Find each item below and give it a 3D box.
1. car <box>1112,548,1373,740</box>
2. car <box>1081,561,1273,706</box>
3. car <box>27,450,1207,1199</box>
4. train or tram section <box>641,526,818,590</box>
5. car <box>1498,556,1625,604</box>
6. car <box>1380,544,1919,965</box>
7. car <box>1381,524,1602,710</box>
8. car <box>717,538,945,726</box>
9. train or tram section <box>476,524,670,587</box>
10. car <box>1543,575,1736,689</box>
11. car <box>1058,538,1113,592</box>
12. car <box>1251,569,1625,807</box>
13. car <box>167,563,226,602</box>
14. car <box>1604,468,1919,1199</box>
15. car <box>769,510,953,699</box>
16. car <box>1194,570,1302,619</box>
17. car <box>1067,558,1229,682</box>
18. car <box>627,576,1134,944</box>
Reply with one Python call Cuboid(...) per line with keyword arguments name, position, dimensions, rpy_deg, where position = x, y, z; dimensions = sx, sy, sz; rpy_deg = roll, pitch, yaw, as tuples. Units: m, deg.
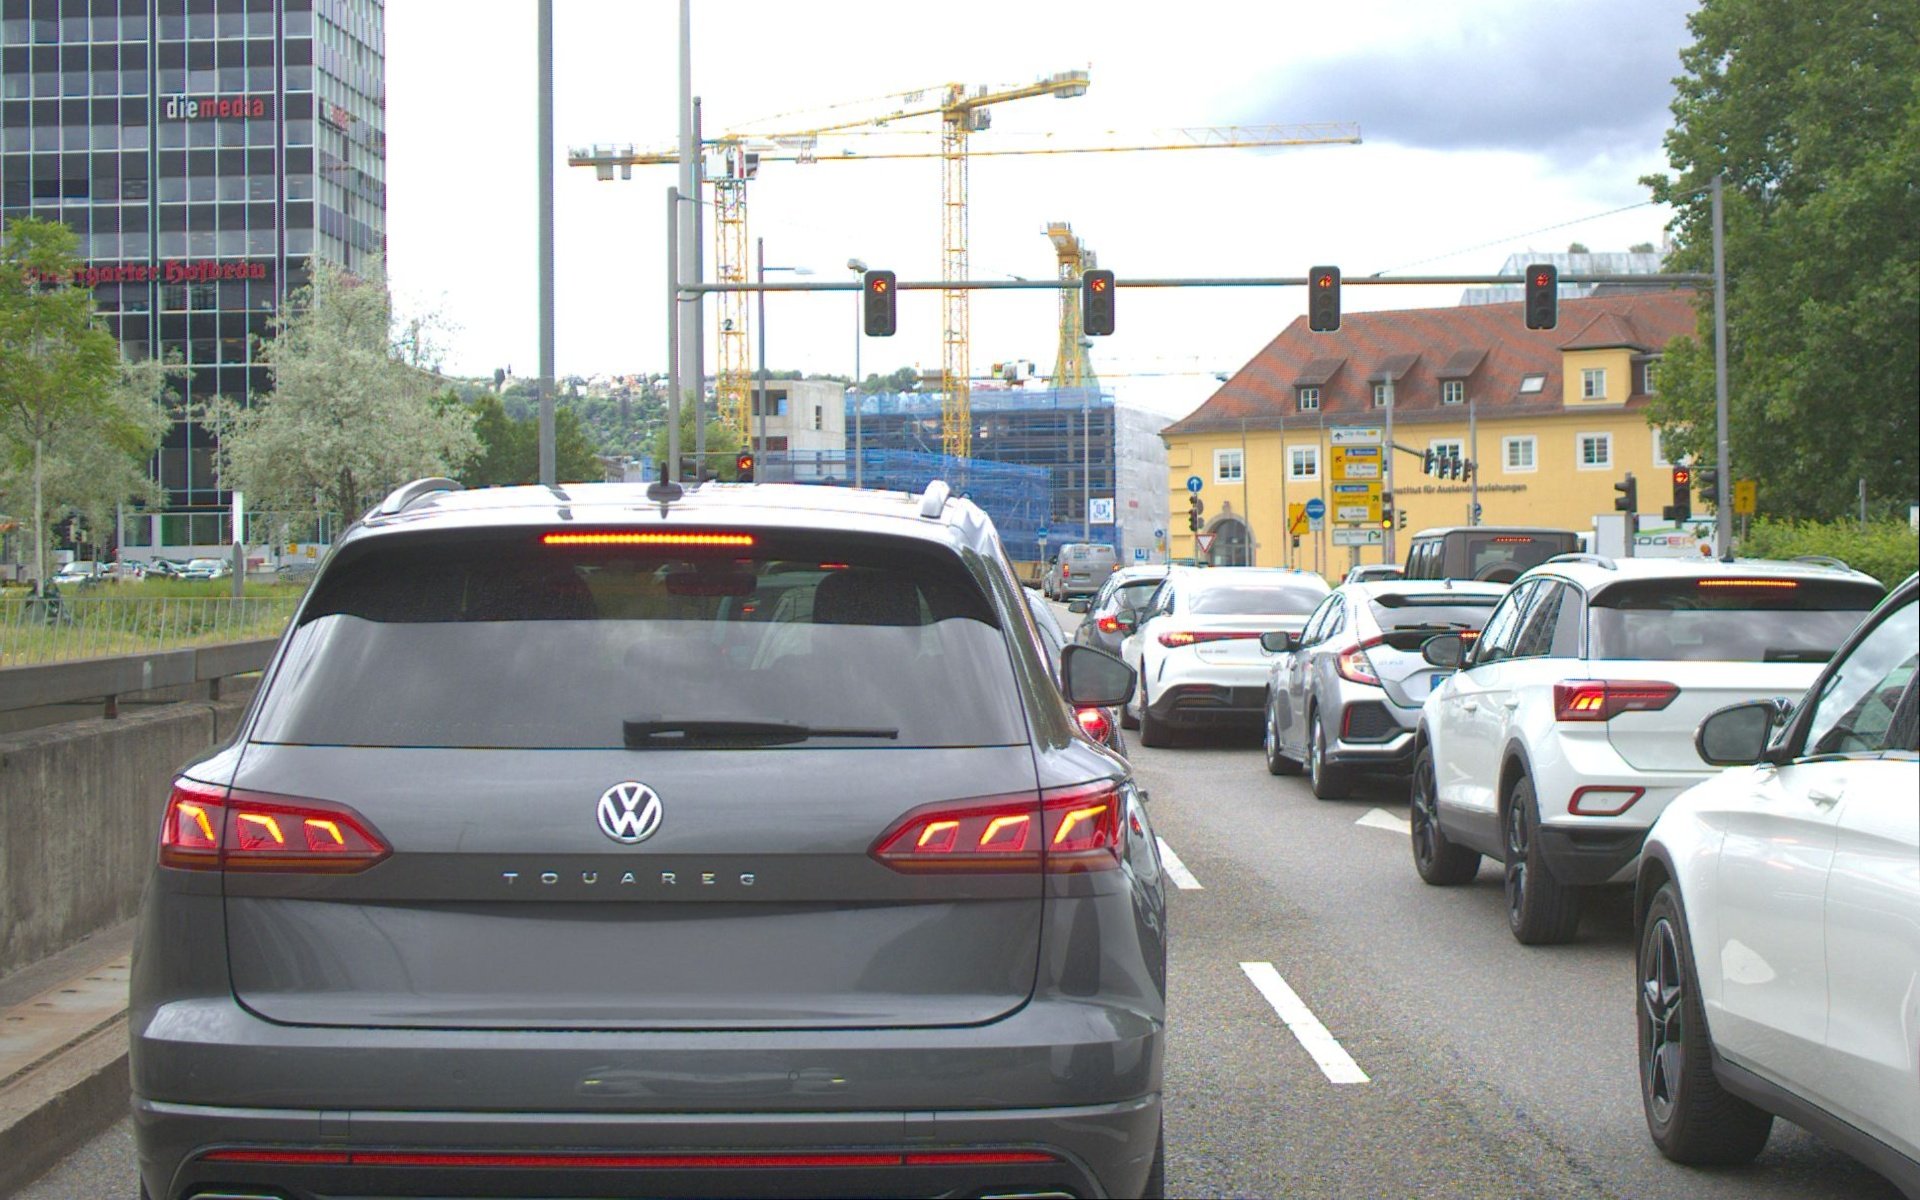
Cuboid(name="car", position=(2.376, 0.357, 29.933), dimensions=(1.926, 1.524, 4.489), rpy_deg=(1, 0, 1))
Cuboid(name="car", position=(2.394, 0.362, 38.754), dimensions=(1.926, 1.524, 4.047), rpy_deg=(1, 0, 1))
Cuboid(name="car", position=(-0.608, 0.568, 7.744), dimensions=(1.951, 1.646, 4.000), rpy_deg=(1, 1, -1))
Cuboid(name="train or tram section", position=(-11.738, -2.137, 174.639), dimensions=(8.936, 2.999, 2.592), rpy_deg=(1, -1, 29))
Cuboid(name="car", position=(21.772, -0.718, 124.391), dimensions=(4.108, 1.605, 1.826), rpy_deg=(1, -1, 35))
Cuboid(name="car", position=(3.059, 0.576, 14.994), dimensions=(1.926, 1.545, 4.489), rpy_deg=(1, 0, 1))
Cuboid(name="car", position=(6.152, 0.191, 40.218), dimensions=(1.910, 2.007, 4.012), rpy_deg=(2, 0, 0))
Cuboid(name="car", position=(-1.165, 0.264, 32.110), dimensions=(1.951, 1.594, 3.931), rpy_deg=(2, 0, -1))
Cuboid(name="train or tram section", position=(-20.236, -2.331, 179.299), dimensions=(10.412, 2.999, 2.592), rpy_deg=(1, -1, 29))
Cuboid(name="car", position=(9.199, 0.413, 46.813), dimensions=(1.757, 1.442, 3.634), rpy_deg=(2, 0, -2))
Cuboid(name="car", position=(4.079, -1.135, 112.524), dimensions=(1.619, 1.622, 4.000), rpy_deg=(2, -1, 0))
Cuboid(name="car", position=(3.104, 0.538, 23.211), dimensions=(1.926, 1.427, 4.489), rpy_deg=(1, 0, 1))
Cuboid(name="car", position=(-31.696, -0.717, 142.813), dimensions=(1.732, 1.489, 3.595), rpy_deg=(2, -1, -3))
Cuboid(name="car", position=(2.715, 0.568, 7.159), dimensions=(1.926, 1.648, 4.490), rpy_deg=(0, 1, 1))
Cuboid(name="car", position=(-1.118, 0.029, 39.632), dimensions=(1.951, 2.011, 3.931), rpy_deg=(2, 0, -1))
Cuboid(name="car", position=(12.675, -0.238, 151.409), dimensions=(4.454, 2.007, 1.699), rpy_deg=(1, -1, 33))
Cuboid(name="car", position=(2.418, 0.255, 45.042), dimensions=(1.926, 1.524, 4.047), rpy_deg=(1, 0, 1))
Cuboid(name="car", position=(-0.347, 0.614, 15.465), dimensions=(1.951, 1.379, 3.931), rpy_deg=(2, 0, -1))
